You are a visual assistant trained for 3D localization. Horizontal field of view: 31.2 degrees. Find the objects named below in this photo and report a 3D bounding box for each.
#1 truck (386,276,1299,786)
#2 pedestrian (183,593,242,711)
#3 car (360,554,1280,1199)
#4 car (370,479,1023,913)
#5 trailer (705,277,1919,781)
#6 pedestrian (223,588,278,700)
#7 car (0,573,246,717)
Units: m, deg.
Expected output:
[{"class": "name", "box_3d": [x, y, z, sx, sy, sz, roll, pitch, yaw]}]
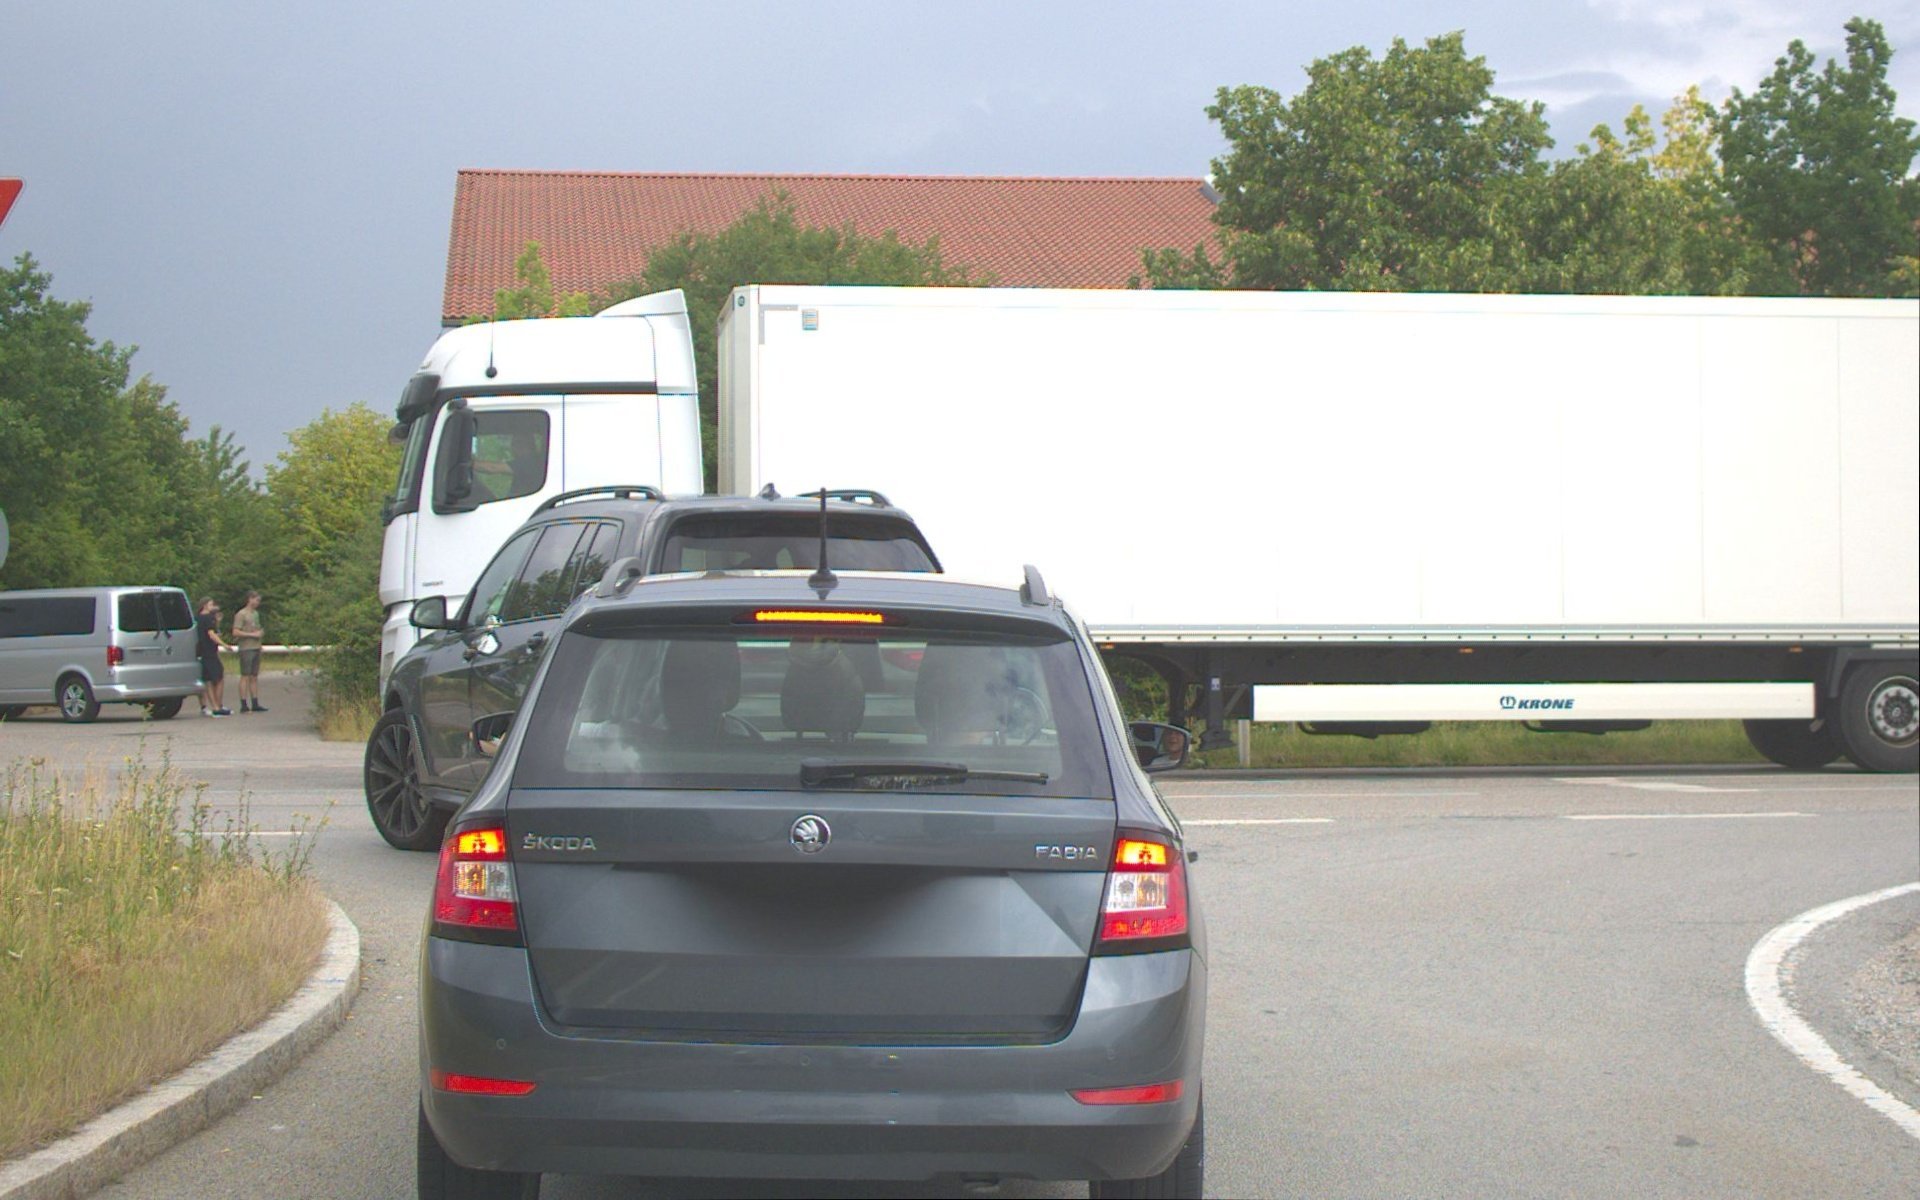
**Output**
[{"class": "truck", "box_3d": [-1.079, -0.535, 28.951, 7.281, 4.001, 3.129, 0, -1, -7]}, {"class": "pedestrian", "box_3d": [-11.090, 0.768, 50.994, 0.529, 1.720, 0.640, 0, 1, 31]}, {"class": "car", "box_3d": [-0.354, 0.644, 8.177, 1.676, 1.457, 3.708, 1, 1, -3]}, {"class": "car", "box_3d": [-1.446, 0.401, 16.536, 1.993, 1.768, 4.645, 0, 0, -19]}, {"class": "trailer", "box_3d": [4.817, -0.566, 29.699, 13.838, 4.001, 3.129, 0, -1, -7]}, {"class": "pedestrian", "box_3d": [-10.845, 0.668, 52.564, 0.565, 1.677, 0.584, 0, 1, 23]}, {"class": "car", "box_3d": [-13.305, 0.634, 51.335, 4.907, 2.007, 2.338, 0, 2, 32]}]
